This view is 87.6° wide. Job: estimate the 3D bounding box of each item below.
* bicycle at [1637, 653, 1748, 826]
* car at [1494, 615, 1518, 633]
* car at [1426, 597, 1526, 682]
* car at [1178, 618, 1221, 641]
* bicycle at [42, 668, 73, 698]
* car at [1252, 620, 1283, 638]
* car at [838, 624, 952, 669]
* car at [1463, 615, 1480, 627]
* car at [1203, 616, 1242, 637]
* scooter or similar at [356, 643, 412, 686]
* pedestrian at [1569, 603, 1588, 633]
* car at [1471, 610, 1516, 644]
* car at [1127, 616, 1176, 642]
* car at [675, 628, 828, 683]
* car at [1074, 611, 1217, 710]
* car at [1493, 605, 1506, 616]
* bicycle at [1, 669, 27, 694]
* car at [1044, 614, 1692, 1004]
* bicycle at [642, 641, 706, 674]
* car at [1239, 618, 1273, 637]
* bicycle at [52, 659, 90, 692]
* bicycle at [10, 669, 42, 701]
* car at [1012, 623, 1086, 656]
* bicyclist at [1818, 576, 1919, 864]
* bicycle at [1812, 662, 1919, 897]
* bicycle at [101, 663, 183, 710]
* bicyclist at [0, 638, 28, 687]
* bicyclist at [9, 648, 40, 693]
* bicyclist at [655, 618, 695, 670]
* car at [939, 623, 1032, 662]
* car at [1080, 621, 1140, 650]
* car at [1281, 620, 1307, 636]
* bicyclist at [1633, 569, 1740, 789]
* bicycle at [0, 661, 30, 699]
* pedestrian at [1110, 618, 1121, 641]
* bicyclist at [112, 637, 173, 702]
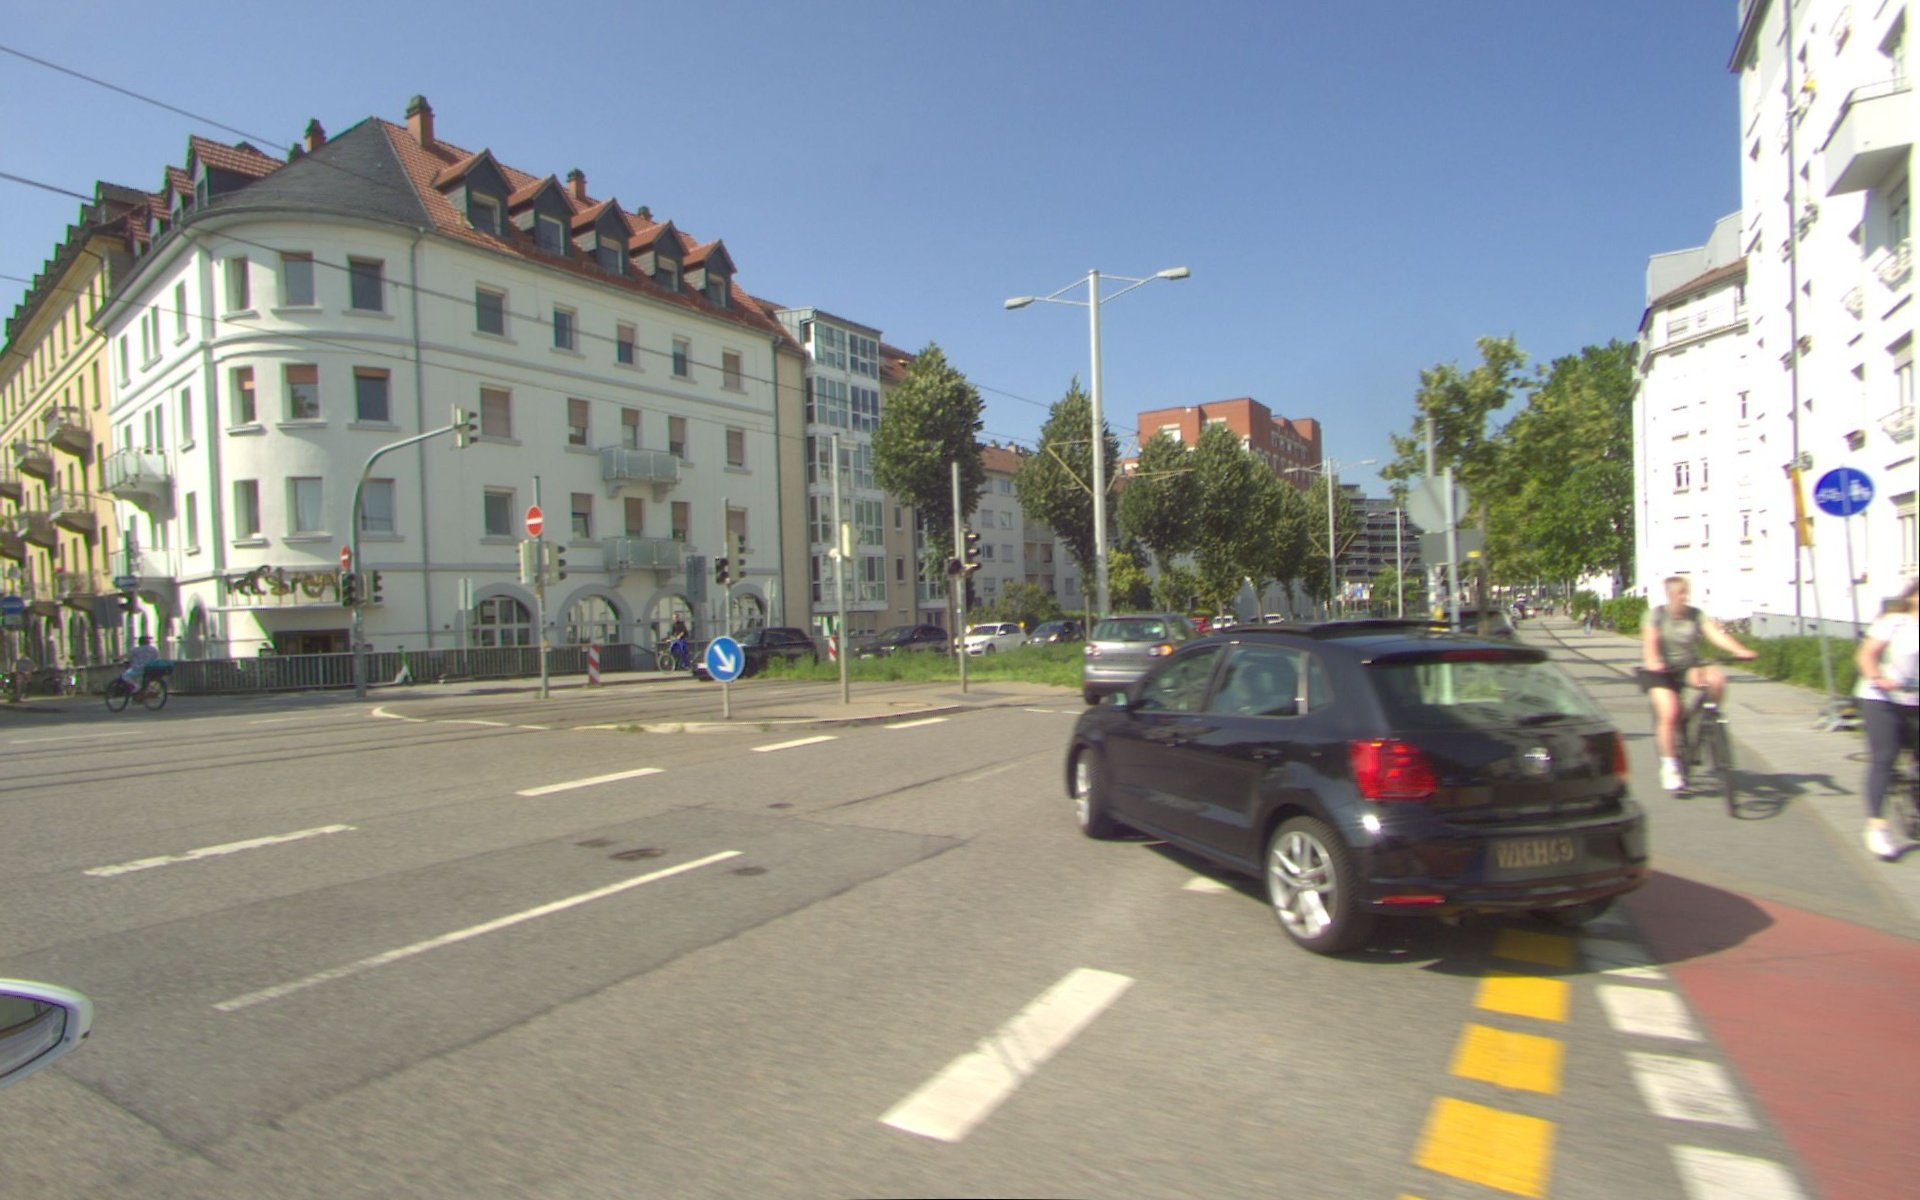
[{"bbox_3d":[5.710,1.018,7.854,0.610,1.114,1.775,-2,0,35],"label":"bicycle"},{"bbox_3d":[46.600,2.051,85.437,1.715,1.503,3.723,-2,-2,30],"label":"car"},{"bbox_3d":[11.207,0.832,21.638,1.715,1.658,3.723,-2,-2,30],"label":"car"},{"bbox_3d":[15.202,1.870,63.458,1.741,1.371,3.986,-3,-2,27],"label":"car"},{"bbox_3d":[-35.270,3.212,39.126,2.268,1.089,0.676,-3,-1,42],"label":"bicycle"},{"bbox_3d":[24.996,2.367,81.405,1.741,1.371,3.986,-3,-2,27],"label":"car"},{"bbox_3d":[-2.126,1.541,33.704,1.744,1.371,3.977,-3,-2,34],"label":"car"},{"bbox_3d":[70.295,2.874,137.570,1.773,1.503,3.721,-2,-2,32],"label":"car"},{"bbox_3d":[18.057,1.821,68.719,1.741,1.371,3.986,-3,-2,27],"label":"car"},{"bbox_3d":[-15.985,1.789,27.799,1.289,1.132,0.336,0,-1,-37],"label":"scooter or similar"},{"bbox_3d":[35.489,1.036,57.437,0.847,1.687,0.904,-1,0,35],"label":"pedestrian"},{"bbox_3d":[25.203,1.261,47.251,1.715,1.503,3.723,-2,-2,30],"label":"car"},{"bbox_3d":[10.975,1.661,57.225,1.741,1.371,3.986,-3,-2,27],"label":"car"},{"bbox_3d":[-5.658,1.503,27.534,1.745,1.338,3.975,-3,-2,36],"label":"car"},{"bbox_3d":[3.408,1.026,17.876,1.669,1.576,3.645,-1,-2,24],"label":"car"},{"bbox_3d":[92.135,1.815,171.011,1.773,1.704,3.721,-2,-2,32],"label":"car"},{"bbox_3d":[-43.478,3.734,46.015,2.268,1.089,0.676,-3,-1,42],"label":"bicycle"},{"bbox_3d":[1.911,0.849,5.883,1.566,1.512,3.655,0,-1,-18],"label":"car"},{"bbox_3d":[-9.514,1.890,33.306,1.893,1.033,0.814,0,-1,-44],"label":"bicycle"},{"bbox_3d":[22.535,2.080,76.216,1.741,1.371,3.986,-3,-2,27],"label":"car"},{"bbox_3d":[-32.629,2.766,36.750,2.830,1.151,0.832,-4,-2,44],"label":"bicycle"},{"bbox_3d":[-33.816,3.069,36.237,1.800,1.004,0.704,-1,1,43],"label":"bicycle"},{"bbox_3d":[4.017,1.739,44.625,1.743,1.371,3.981,-3,-2,31],"label":"car"},{"bbox_3d":[5.650,0.664,5.921,0.615,1.598,0.913,-5,-2,31],"label":"bicyclist"},{"bbox_3d":[5.659,0.979,5.889,0.619,1.113,1.777,-5,-3,31],"label":"bicycle"},{"bbox_3d":[-18.829,1.967,23.046,2.216,1.002,0.863,-3,-2,34],"label":"bicycle"},{"bbox_3d":[-30.429,2.001,32.026,0.943,1.527,0.833,-3,-2,43],"label":"bicyclist"},{"bbox_3d":[-33.853,2.540,36.250,0.776,1.571,0.704,-1,2,43],"label":"bicyclist"},{"bbox_3d":[-9.487,1.448,33.331,0.999,1.676,0.801,1,1,-44],"label":"bicyclist"},{"bbox_3d":[1.042,1.634,38.742,1.744,1.371,3.979,-3,-2,33],"label":"car"},{"bbox_3d":[7.666,1.803,50.964,1.742,1.371,3.984,-3,-2,29],"label":"car"},{"bbox_3d":[30.931,2.579,92.740,1.741,1.371,3.986,-3,-2,27],"label":"car"},{"bbox_3d":[5.716,0.592,7.903,0.616,1.610,0.912,-2,-1,36],"label":"bicyclist"},{"bbox_3d":[-30.475,2.560,32.095,2.830,1.151,0.832,-4,-2,44],"label":"bicycle"},{"bbox_3d":[11.923,2.251,76.821,0.590,1.786,0.749,-1,-1,28],"label":"pedestrian"},{"bbox_3d":[-18.786,1.579,23.016,0.905,1.433,0.863,-2,-2,34],"label":"bicyclist"}]
